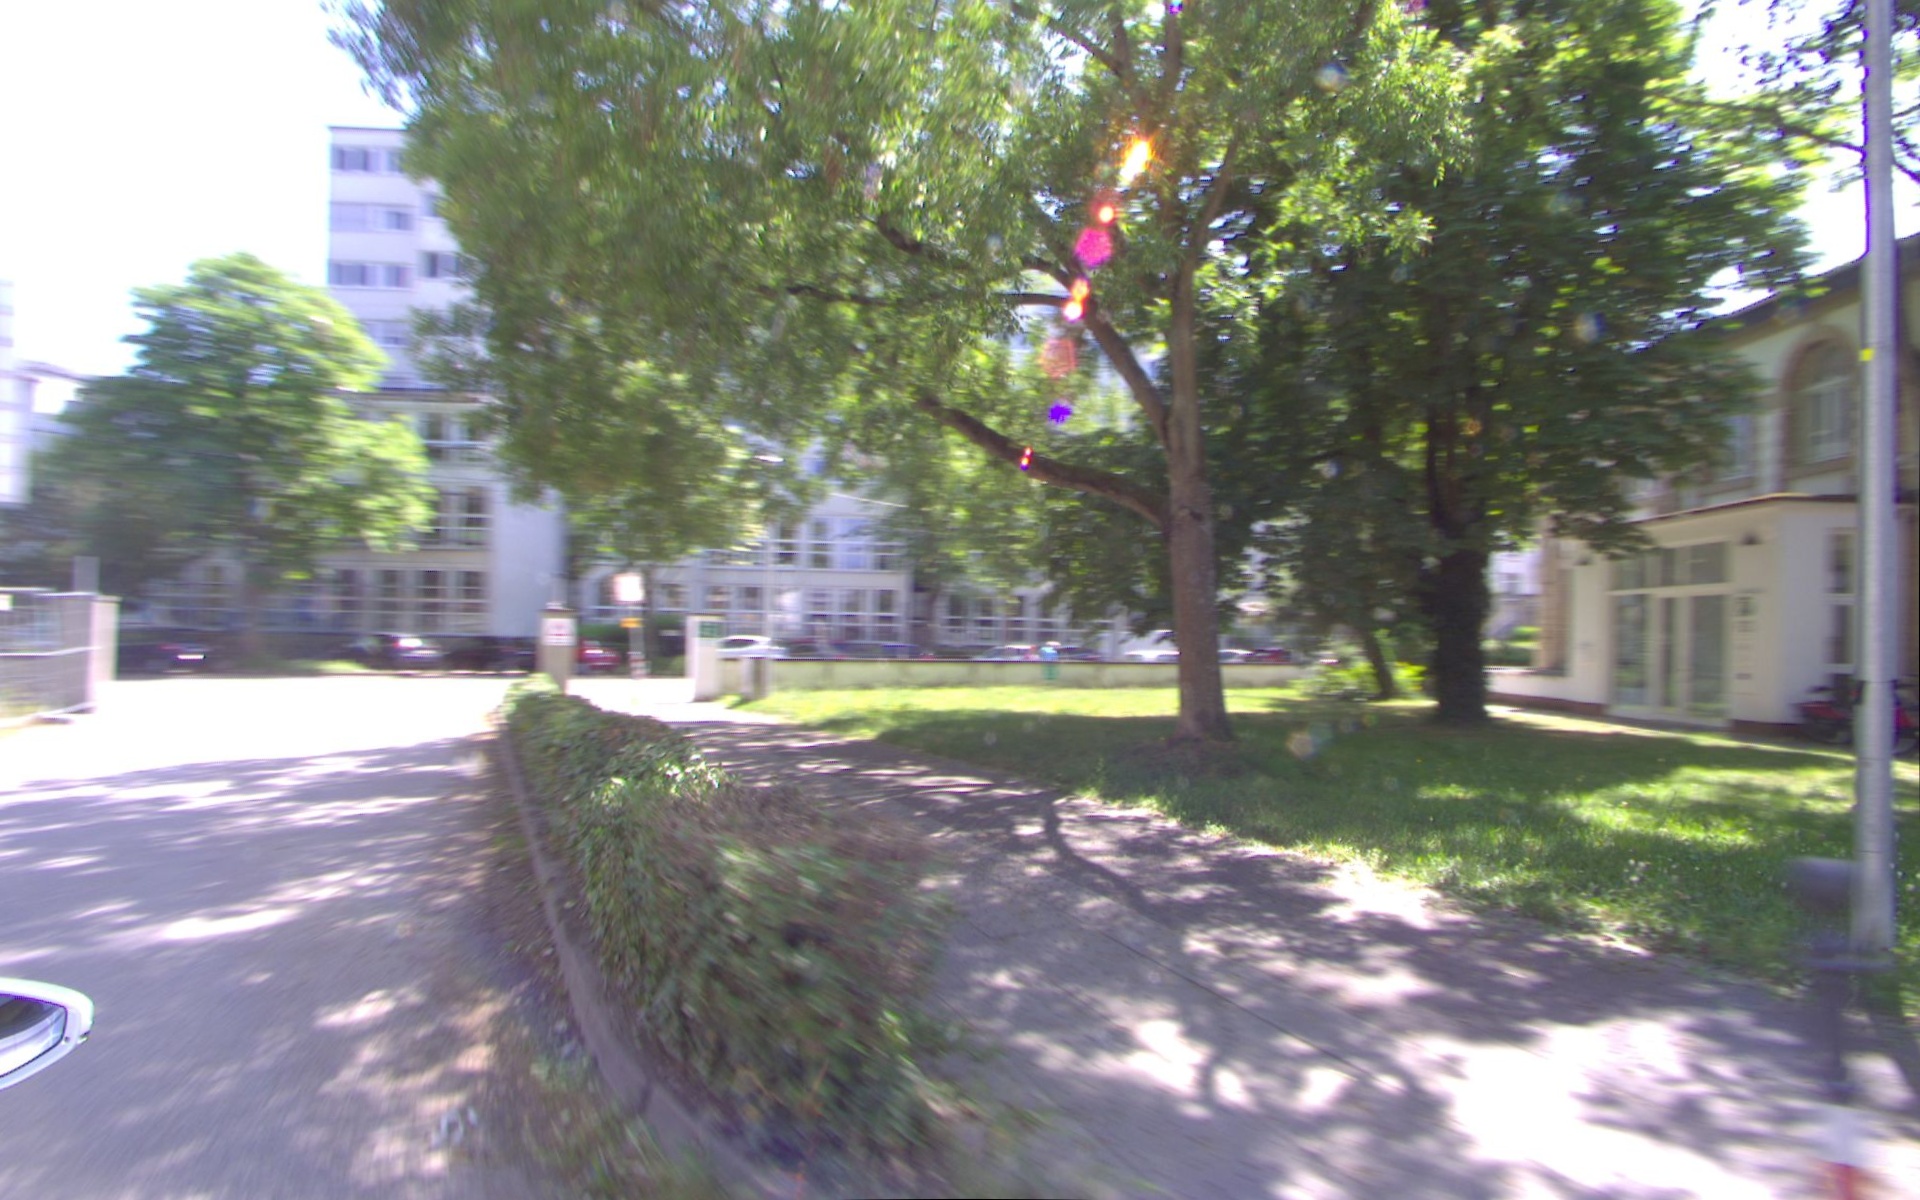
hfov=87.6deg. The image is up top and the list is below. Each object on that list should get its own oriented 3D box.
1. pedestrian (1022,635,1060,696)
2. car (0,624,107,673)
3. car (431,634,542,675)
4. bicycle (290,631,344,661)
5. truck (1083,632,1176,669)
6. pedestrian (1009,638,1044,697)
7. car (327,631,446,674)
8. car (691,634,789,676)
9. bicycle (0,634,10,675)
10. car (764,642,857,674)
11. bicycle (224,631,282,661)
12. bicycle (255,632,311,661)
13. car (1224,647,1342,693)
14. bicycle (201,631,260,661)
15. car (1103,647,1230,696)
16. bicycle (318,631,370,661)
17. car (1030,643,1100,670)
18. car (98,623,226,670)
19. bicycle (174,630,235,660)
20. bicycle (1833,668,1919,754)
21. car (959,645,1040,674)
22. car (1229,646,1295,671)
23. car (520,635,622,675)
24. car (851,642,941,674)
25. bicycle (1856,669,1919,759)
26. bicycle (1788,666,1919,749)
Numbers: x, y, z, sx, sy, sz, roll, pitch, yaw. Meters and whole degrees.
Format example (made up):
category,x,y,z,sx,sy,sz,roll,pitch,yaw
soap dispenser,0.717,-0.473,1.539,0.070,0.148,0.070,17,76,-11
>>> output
category,x,y,z,sx,sy,sz,roll,pitch,yaw
pedestrian,2.160,1.744,26.665,0.722,1.609,0.738,1,-4,-27
car,-29.066,1.502,31.619,3.613,1.482,1.636,0,-2,19
car,-17.787,2.025,37.637,3.611,1.463,1.611,0,-2,17
bicycle,-26.348,1.881,41.091,0.768,1.203,2.433,1,-2,-4
truck,8.623,2.545,50.905,4.559,1.856,1.655,-1,-2,15
pedestrian,1.843,1.887,27.797,0.721,1.609,0.739,1,-4,-25
car,-20.757,1.887,36.299,3.610,1.482,1.644,0,-2,14
car,-9.225,2.292,42.073,3.676,1.640,1.611,0,-2,15
bicycle,-28.701,1.544,28.406,2.407,1.166,0.781,2,-2,-32
car,-6.509,2.517,43.523,3.680,1.297,1.609,0,-2,21
bicycle,-28.776,1.849,40.791,0.768,1.172,2.385,1,-2,-4
bicycle,-27.628,1.888,40.931,0.768,1.172,2.385,1,-2,-4
car,11.297,2.415,34.943,3.879,1.482,1.699,2,-2,-28
bicycle,-29.629,1.854,40.717,0.768,1.172,2.385,1,-2,-4
car,6.750,2.309,32.747,3.879,1.482,1.699,2,-2,-28
bicycle,-25.333,1.881,41.213,0.768,1.203,2.433,1,-2,-4
car,5.230,2.788,49.724,3.303,1.307,1.533,0,-2,15
car,-26.314,1.522,33.028,3.613,1.482,1.636,0,-2,19
bicycle,-30.592,1.819,40.582,0.768,1.172,2.385,1,-2,-4
bicycle,13.535,1.569,14.180,1.806,1.157,0.590,1,-1,2
car,1.916,2.847,48.391,3.674,1.307,1.612,0,-2,13
car,16.793,3.238,55.729,3.291,1.307,1.492,-1,-2,30
car,-15.228,2.130,39.231,3.540,1.455,1.609,0,-2,21
car,-2.850,2.572,44.855,3.680,1.321,1.609,0,-2,22
bicycle,13.285,1.540,13.482,1.806,1.157,0.590,1,-1,6
bicycle,13.505,1.591,14.929,1.806,1.157,0.590,1,-1,2
